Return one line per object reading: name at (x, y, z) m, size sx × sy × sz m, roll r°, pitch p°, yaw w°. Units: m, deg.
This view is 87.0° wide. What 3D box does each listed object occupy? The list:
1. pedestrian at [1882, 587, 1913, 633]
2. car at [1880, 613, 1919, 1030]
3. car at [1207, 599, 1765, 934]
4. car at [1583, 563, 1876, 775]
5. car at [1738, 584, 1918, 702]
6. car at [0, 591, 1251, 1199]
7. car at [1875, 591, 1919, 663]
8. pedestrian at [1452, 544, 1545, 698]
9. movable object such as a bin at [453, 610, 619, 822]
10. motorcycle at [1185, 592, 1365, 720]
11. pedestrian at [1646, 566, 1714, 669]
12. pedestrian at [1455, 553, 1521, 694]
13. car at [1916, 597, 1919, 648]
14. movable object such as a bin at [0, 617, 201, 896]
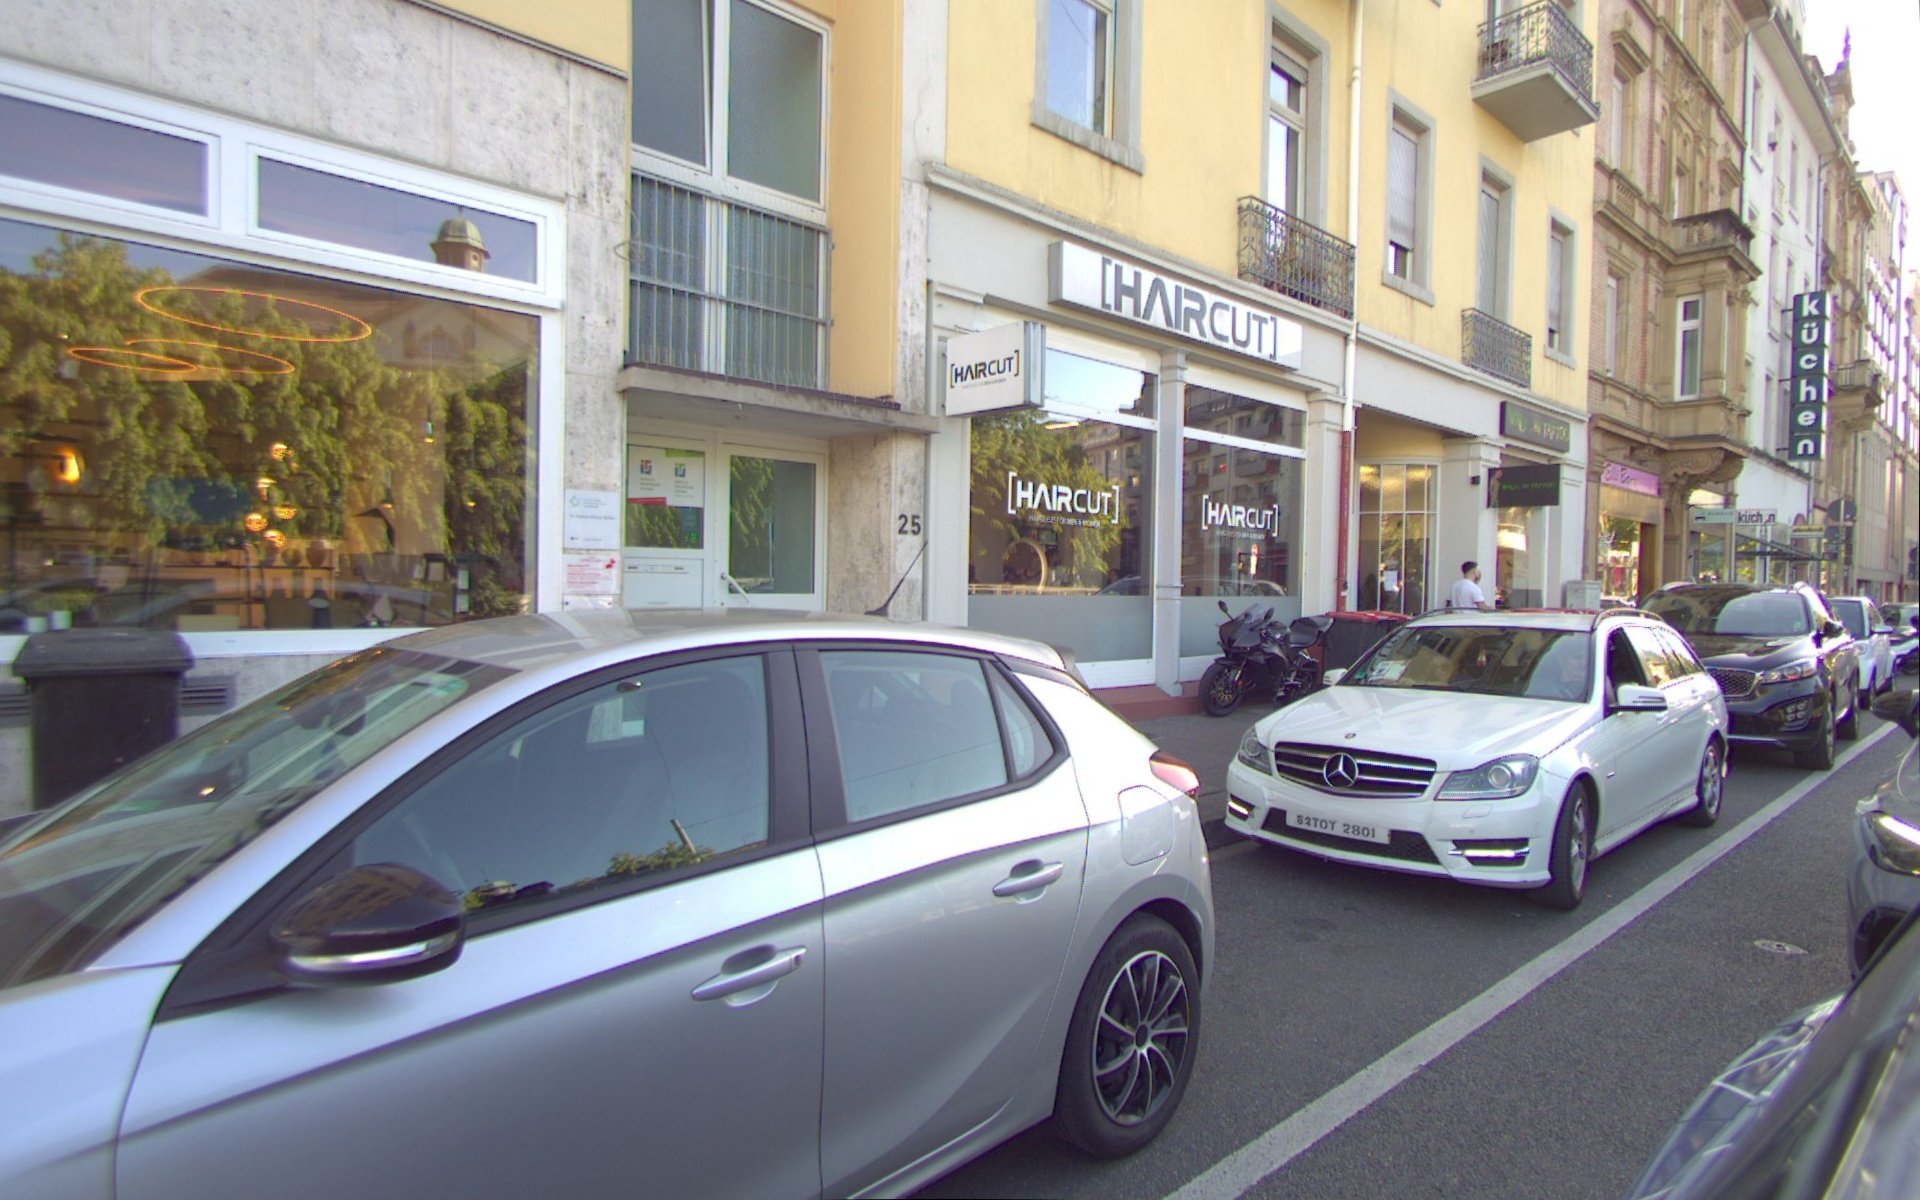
pedestrian at (37.395, 0.395, 40.371) m, size 0.809 × 1.782 × 0.825 m, roll 0°, pitch 0°, yaw -42°
car at (5.398, 0.753, 4.377) m, size 4.397 × 1.385 × 1.767 m, roll -1°, pitch 1°, yaw -43°
car at (3.534, 0.711, 6.389) m, size 4.301 × 1.389 × 1.671 m, roll -1°, pitch 0°, yaw -41°
car at (8.010, 0.533, 10.367) m, size 4.338 × 1.711 × 1.802 m, roll -1°, pitch 0°, yaw -45°
car at (12.772, 0.550, 14.854) m, size 2.945 × 1.542 × 1.582 m, roll -1°, pitch 0°, yaw -41°
car at (-1.005, 0.718, 2.308) m, size 3.625 × 1.455 × 1.585 m, roll -1°, pitch 0°, yaw -43°
car at (21.899, 0.568, 22.810) m, size 3.736 × 1.509 × 1.691 m, roll -1°, pitch 0°, yaw -45°
pedestrian at (6.864, 0.257, 12.927) m, size 0.961 × 1.900 × 0.532 m, roll 0°, pitch 0°, yaw 19°
movable object such as a bin at (-2.326, 0.584, 5.538) m, size 0.639 × 1.036 × 0.737 m, roll 0°, pitch 0°, yaw -41°
motorcycle at (3.302, 0.526, 10.505) m, size 2.073 × 1.144 × 0.735 m, roll -1°, pitch 5°, yaw -41°
pedestrian at (12.596, 0.298, 17.703) m, size 0.806 × 1.741 × 0.835 m, roll 0°, pitch 0°, yaw -44°
pedestrian at (7.241, 0.304, 13.875) m, size 0.627 × 1.859 × 0.760 m, roll 0°, pitch 0°, yaw 41°
car at (26.611, 0.576, 26.928) m, size 3.306 × 1.334 × 1.459 m, roll -1°, pitch 0°, yaw -42°
movable object such as a bin at (-3.673, 0.603, 4.325) m, size 0.639 × 1.036 × 0.737 m, roll 0°, pitch 0°, yaw -41°
